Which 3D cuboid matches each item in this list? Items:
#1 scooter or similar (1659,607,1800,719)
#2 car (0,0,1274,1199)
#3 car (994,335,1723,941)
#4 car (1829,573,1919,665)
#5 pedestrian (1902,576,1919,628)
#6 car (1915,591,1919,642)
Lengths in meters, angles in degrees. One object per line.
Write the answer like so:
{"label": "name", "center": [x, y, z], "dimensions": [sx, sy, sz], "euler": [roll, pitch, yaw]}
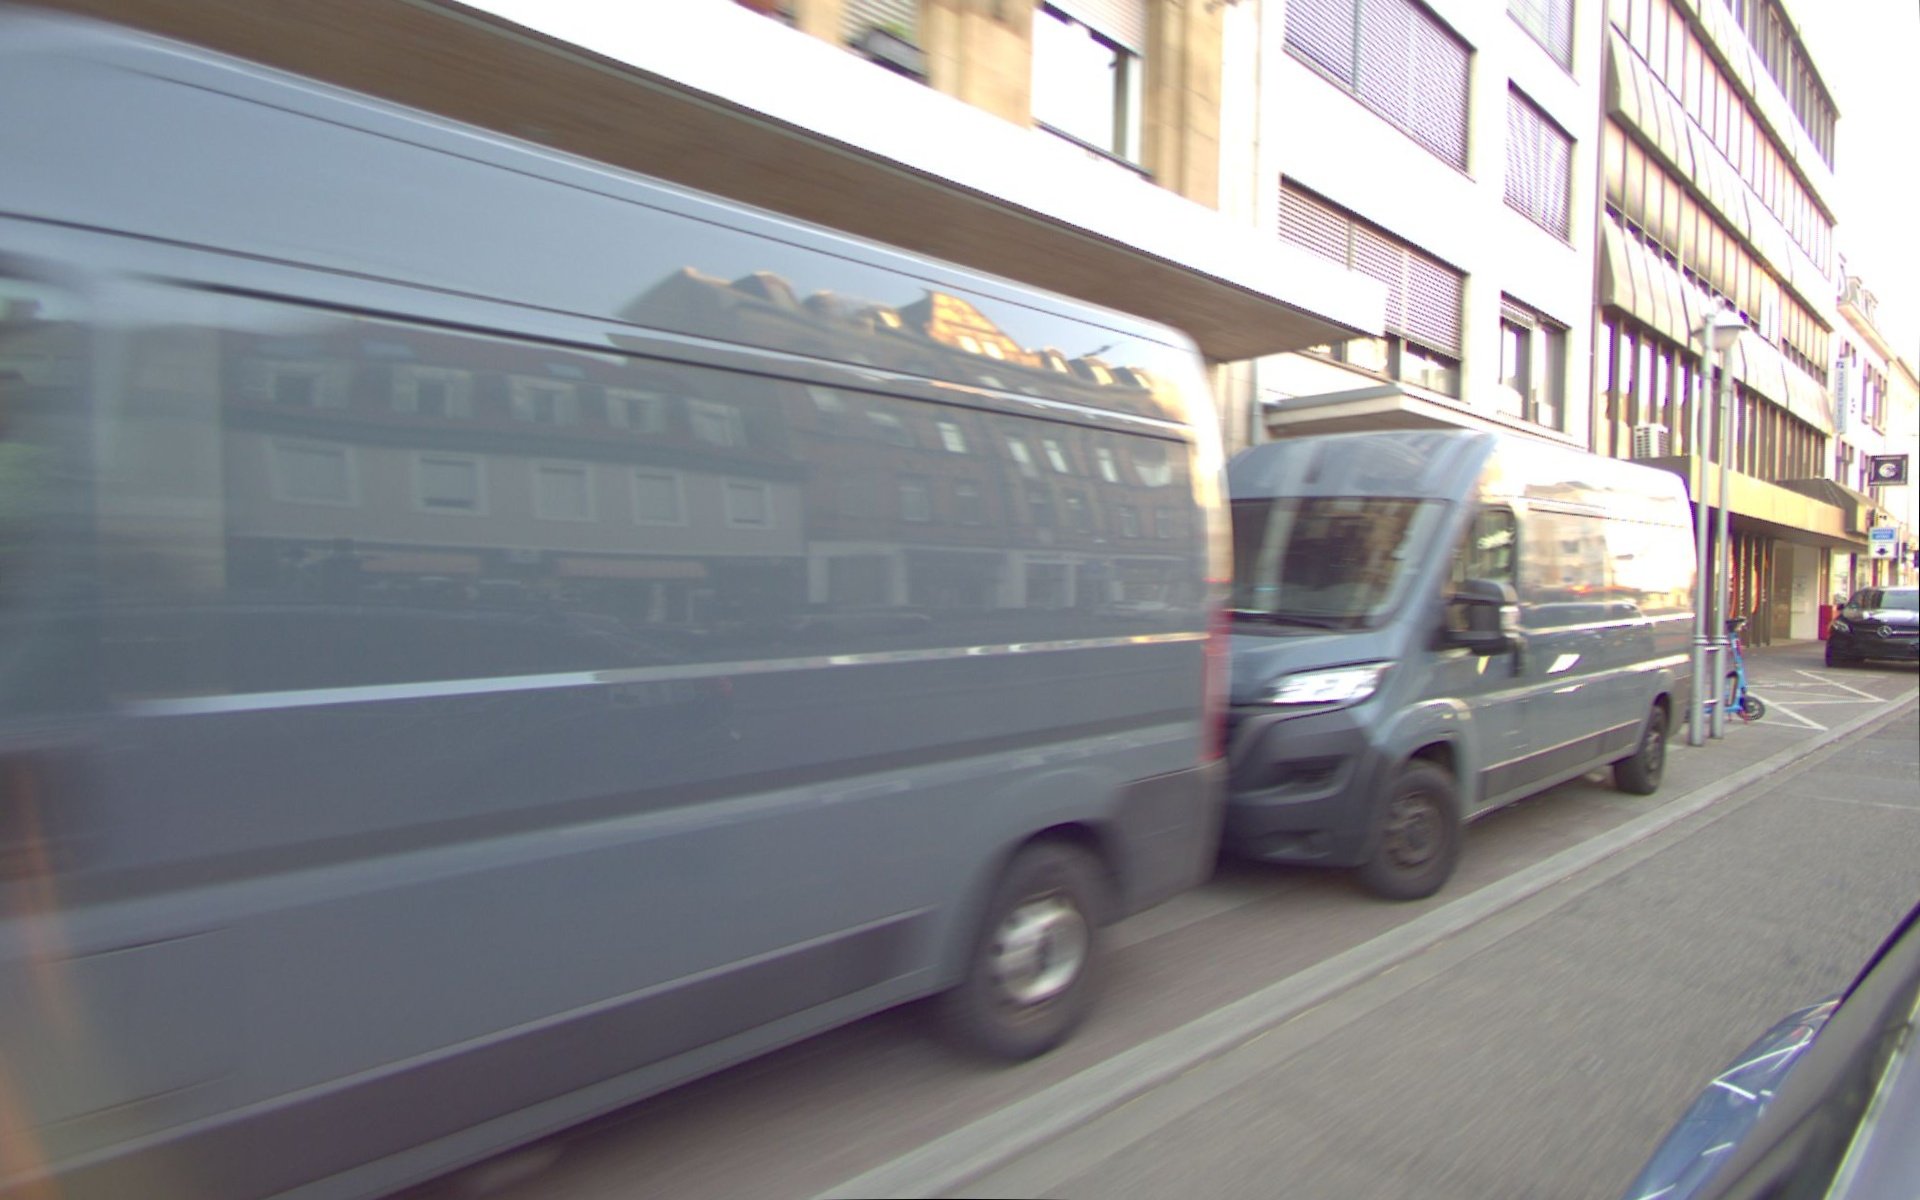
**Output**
{"label": "scooter or similar", "center": [8.879, 0.720, 11.702], "dimensions": [1.240, 1.235, 0.500], "euler": [1, 1, -3]}
{"label": "car", "center": [-1.503, 0.110, 2.751], "dimensions": [5.317, 2.485, 2.037], "euler": [0, 3, -43]}
{"label": "car", "center": [3.124, 0.097, 6.904], "dimensions": [5.927, 2.485, 2.097], "euler": [0, 3, -41]}
{"label": "car", "center": [20.138, 0.353, 21.388], "dimensions": [4.485, 1.748, 1.998], "euler": [0, 2, -41]}
{"label": "pedestrian", "center": [34.517, 0.078, 36.363], "dimensions": [0.911, 1.828, 0.768], "euler": [0, 3, -39]}
{"label": "car", "center": [29.298, 0.491, 29.442], "dimensions": [3.818, 1.451, 1.799], "euler": [0, 2, -41]}
